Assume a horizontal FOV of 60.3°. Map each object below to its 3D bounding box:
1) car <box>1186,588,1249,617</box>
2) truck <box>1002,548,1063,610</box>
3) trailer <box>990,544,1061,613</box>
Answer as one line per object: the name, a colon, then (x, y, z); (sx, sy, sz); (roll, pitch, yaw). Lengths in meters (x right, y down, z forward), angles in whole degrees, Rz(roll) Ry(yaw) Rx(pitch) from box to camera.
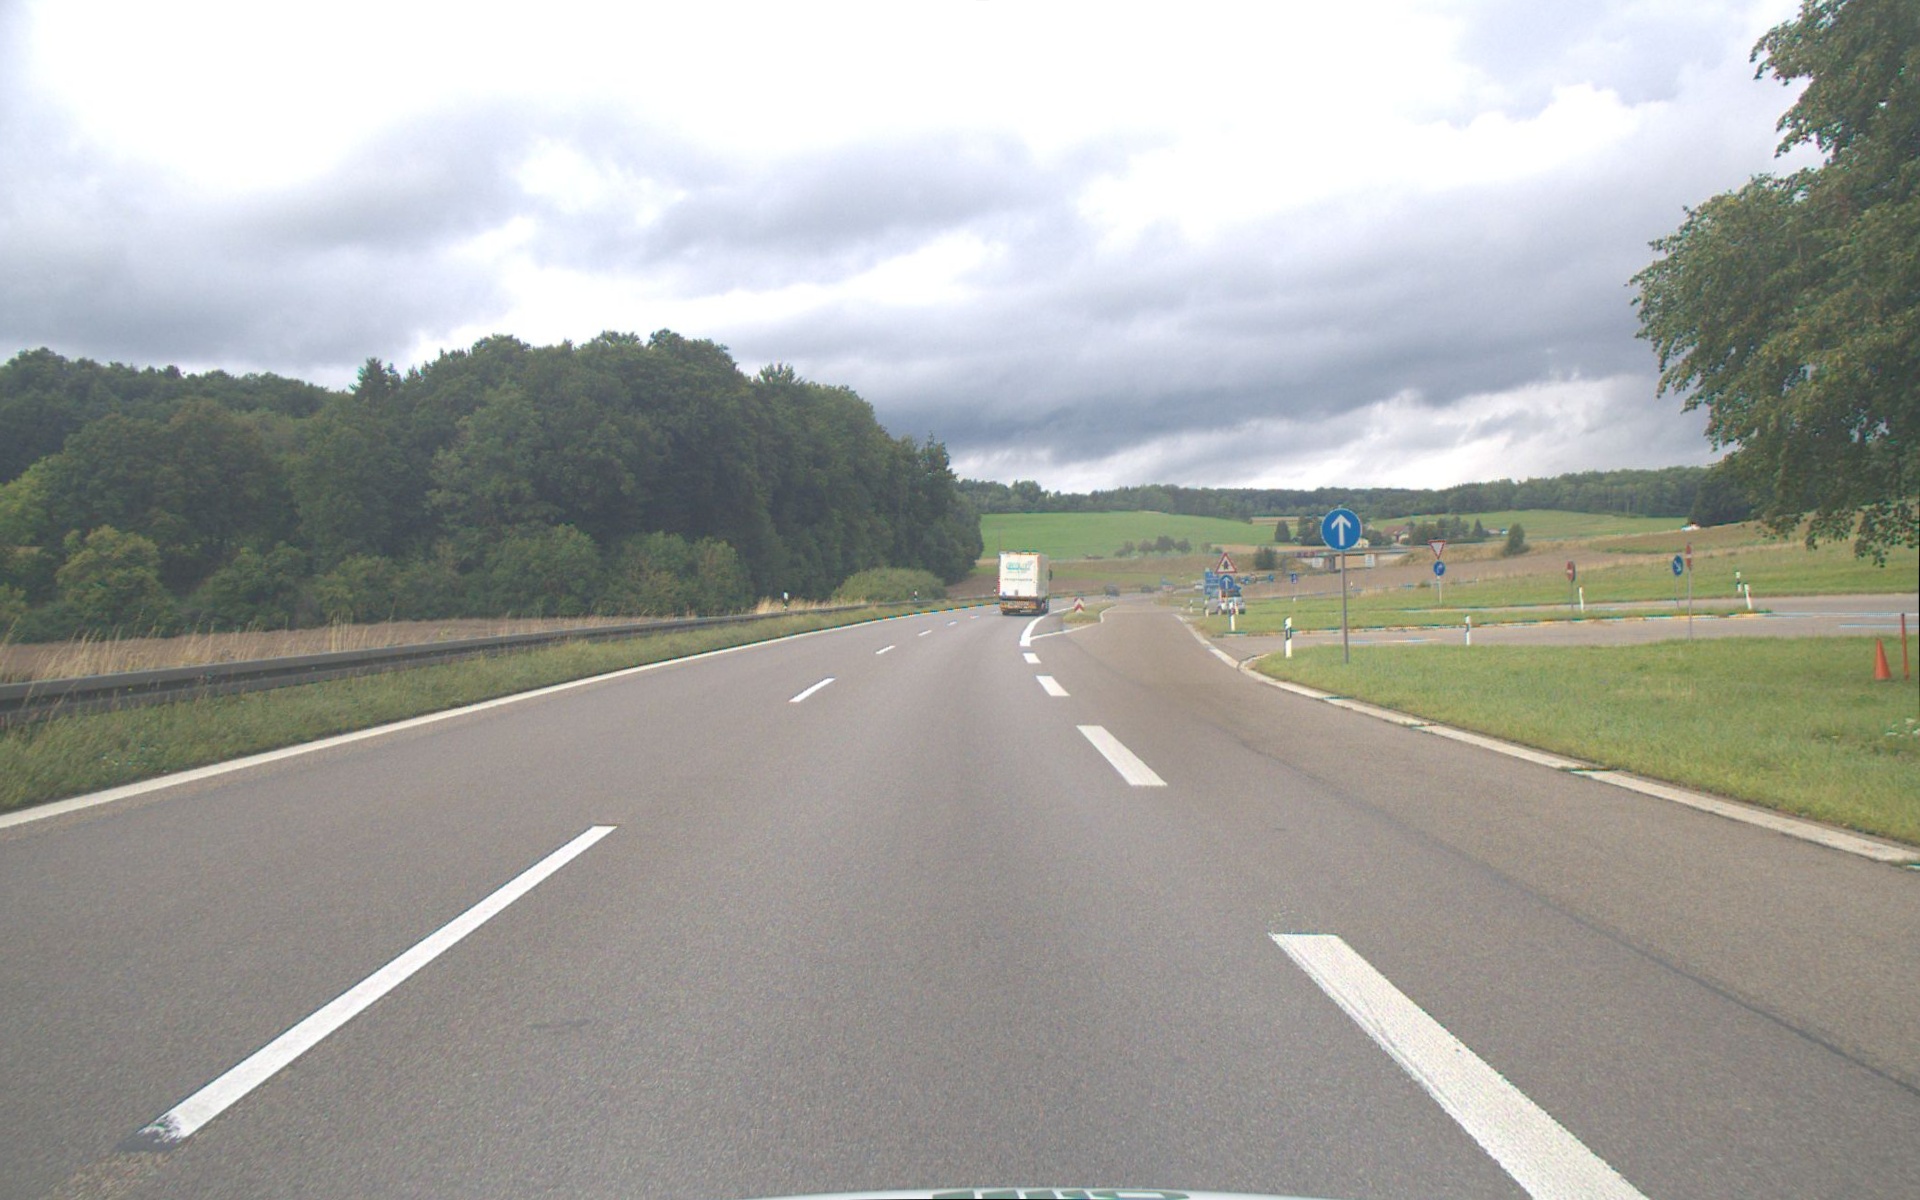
car: (15.016, 0.130, 96.639); (1.755, 1.579, 3.969); (-1, 1, -25)
truck: (5.243, -1.492, 117.600); (3.707, 4.204, 8.271); (1, 1, 6)
trailer: (4.507, -1.409, 110.469); (3.725, 4.247, 14.819); (0, 0, 6)
